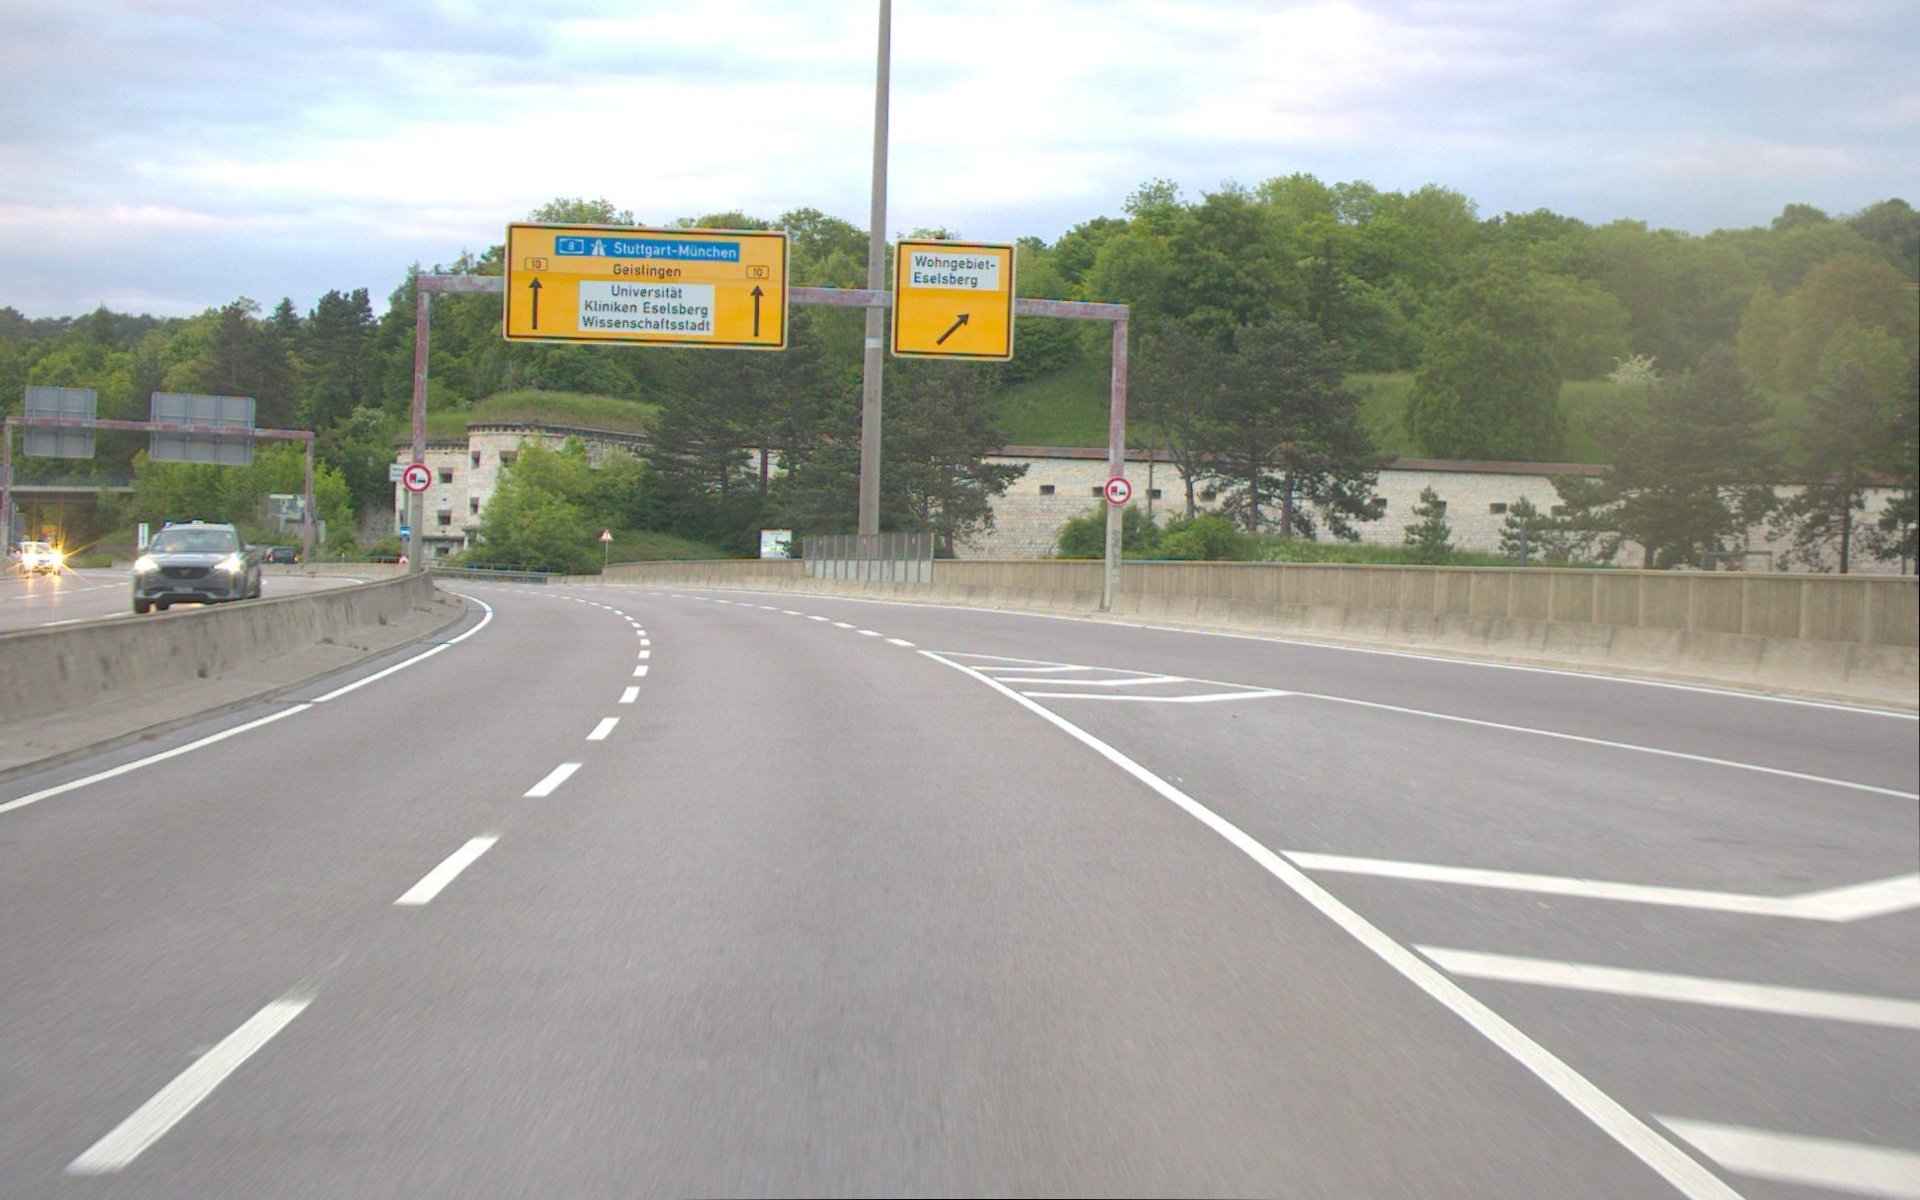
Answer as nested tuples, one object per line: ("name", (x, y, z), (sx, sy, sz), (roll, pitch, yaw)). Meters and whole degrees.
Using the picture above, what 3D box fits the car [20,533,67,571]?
("car", (-43.461, -2.265, 163.025), (1.667, 1.727, 4.001), (1, 0, -22))

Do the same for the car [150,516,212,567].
("car", (-23.466, -1.758, 103.509), (1.730, 1.471, 4.225), (1, 1, -14))

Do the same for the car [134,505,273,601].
("car", (-12.776, -0.802, 58.282), (1.811, 1.529, 4.547), (1, 1, -6))
